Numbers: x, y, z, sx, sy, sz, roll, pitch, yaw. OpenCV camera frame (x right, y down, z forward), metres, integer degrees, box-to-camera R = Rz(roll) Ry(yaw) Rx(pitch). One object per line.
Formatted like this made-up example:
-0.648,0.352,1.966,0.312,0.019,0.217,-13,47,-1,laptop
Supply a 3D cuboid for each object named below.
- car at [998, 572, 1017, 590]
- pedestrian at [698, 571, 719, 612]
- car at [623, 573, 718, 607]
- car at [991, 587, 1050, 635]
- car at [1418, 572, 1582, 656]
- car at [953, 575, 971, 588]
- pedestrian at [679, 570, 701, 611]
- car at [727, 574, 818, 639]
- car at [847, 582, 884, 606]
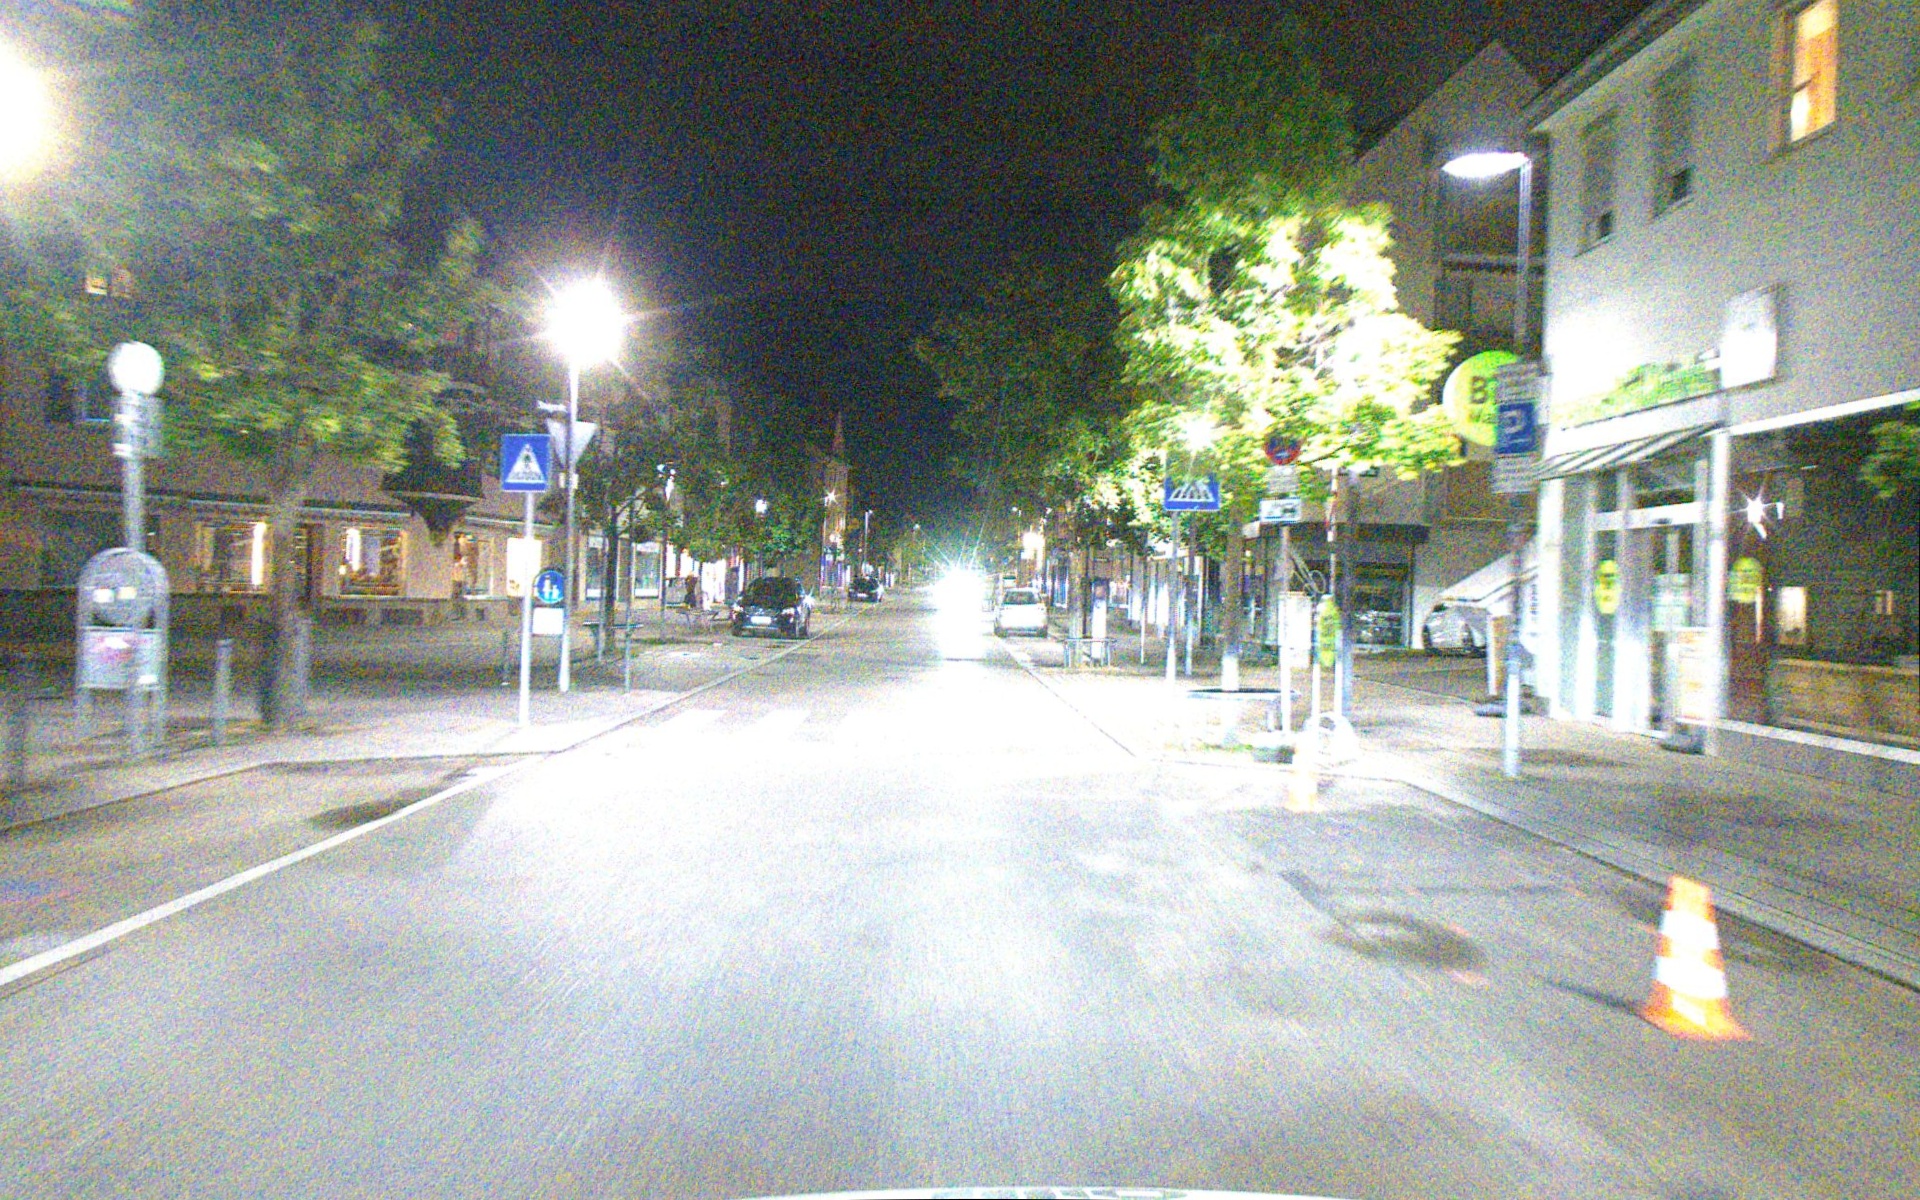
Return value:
4.479,-1.800,155.697,1.739,1.681,4.365,1,1,1,car
-10.554,-0.360,69.499,0.753,1.684,0.782,1,2,1,pedestrian
-13.666,-0.483,78.200,4.080,1.463,1.842,-2,0,3,car
1.947,0.341,53.870,1.641,1.485,3.674,1,1,-2,car
10.671,0.289,32.983,1.768,1.485,4.055,-3,-1,-2,car
0.212,-1.927,170.842,1.687,1.268,4.238,1,1,1,car
-11.375,-0.384,69.613,0.753,1.684,0.817,1,2,1,pedestrian
-5.385,0.152,48.101,1.976,1.720,5.003,3,1,0,car
-5.806,-0.393,102.079,1.875,1.394,4.458,1,1,1,car
